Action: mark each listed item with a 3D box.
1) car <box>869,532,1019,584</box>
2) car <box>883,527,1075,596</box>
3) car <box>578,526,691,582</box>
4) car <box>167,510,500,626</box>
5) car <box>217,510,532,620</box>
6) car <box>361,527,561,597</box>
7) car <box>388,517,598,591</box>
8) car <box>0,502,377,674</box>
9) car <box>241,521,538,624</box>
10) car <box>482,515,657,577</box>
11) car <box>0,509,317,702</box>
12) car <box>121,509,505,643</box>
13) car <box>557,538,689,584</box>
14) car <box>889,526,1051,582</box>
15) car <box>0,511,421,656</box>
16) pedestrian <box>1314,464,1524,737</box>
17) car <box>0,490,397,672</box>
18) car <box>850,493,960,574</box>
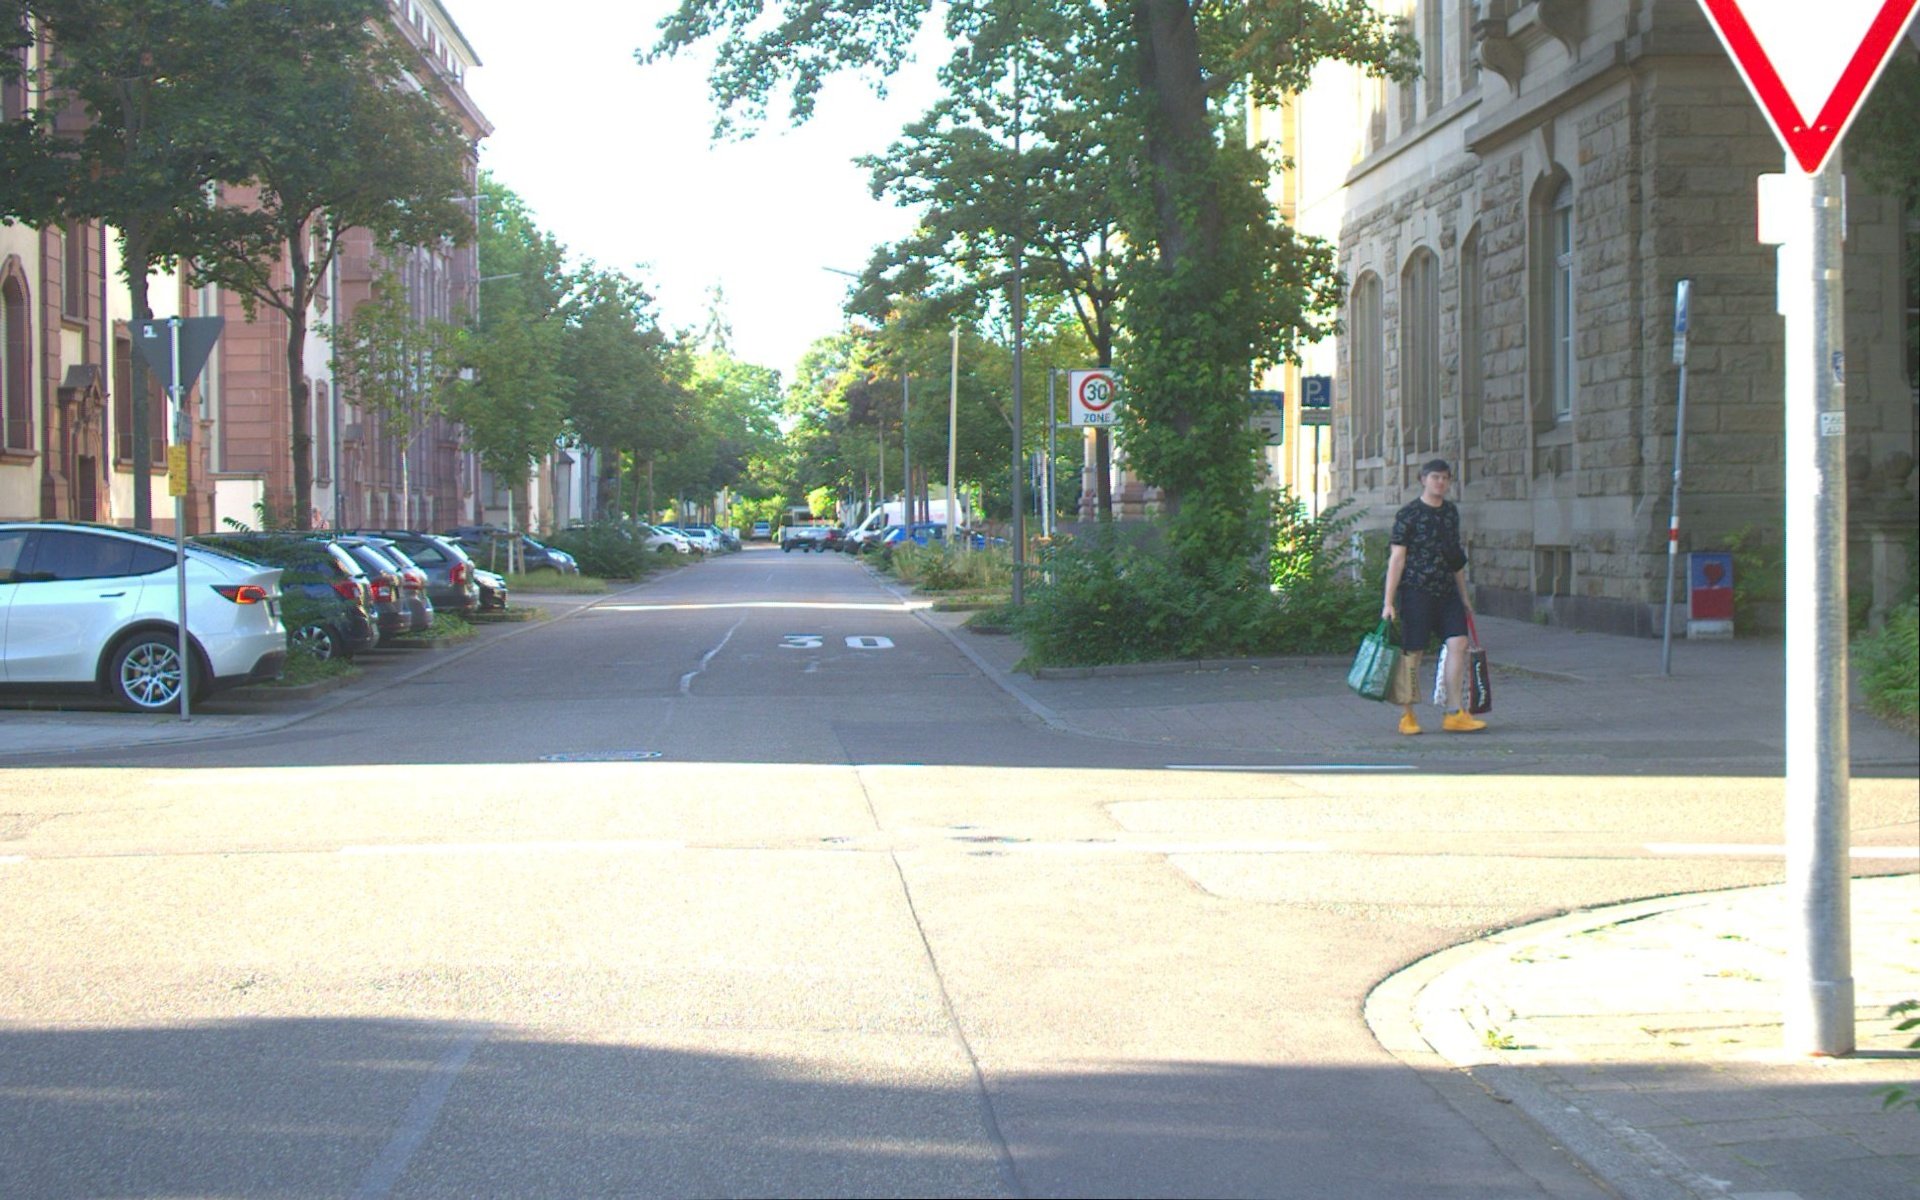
[{"bbox_3d":[-0.520,-1.333,108.067,4.582,1.602,1.842,0,1,-4],"label":"car"},{"bbox_3d":[0.435,-0.930,82.364,4.482,1.602,1.842,0,1,-4],"label":"car"},{"bbox_3d":[-13.377,-1.904,141.595,4.582,2.256,1.842,0,1,-4],"label":"car"},{"bbox_3d":[-8.858,-0.473,48.921,4.482,1.602,1.842,0,1,-4],"label":"car"},{"bbox_3d":[-8.711,-0.540,51.415,4.482,1.602,1.842,0,1,-4],"label":"car"},{"bbox_3d":[-11.616,-0.893,80.272,4.482,1.602,1.842,0,1,-4],"label":"car"},{"bbox_3d":[-10.296,-1.036,75.995,4.482,1.602,1.842,0,1,-4],"label":"car"},{"bbox_3d":[-8.410,-0.140,35.681,4.482,1.711,1.842,0,1,-4],"label":"car"},{"bbox_3d":[-9.001,-0.450,54.520,4.482,1.602,1.842,0,1,-4],"label":"car"},{"bbox_3d":[-10.225,-1.426,90.267,4.482,1.602,1.842,0,1,-4],"label":"car"},{"bbox_3d":[-8.047,0.032,29.328,4.841,1.588,1.842,0,1,-4],"label":"car"},{"bbox_3d":[-7.956,-0.312,42.578,4.482,1.602,1.842,0,1,-4],"label":"car"},{"bbox_3d":[-11.913,-1.375,121.649,4.582,1.602,1.842,0,1,-4],"label":"car"},{"bbox_3d":[0.285,-1.340,100.055,4.582,1.602,1.842,0,1,-4],"label":"car"},{"bbox_3d":[-8.511,-0.208,39.318,4.482,1.602,1.842,0,1,-4],"label":"car"},{"bbox_3d":[3.204,-0.009,24.035,1.060,1.851,1.002,-1,1,-34],"label":"pedestrian"},{"bbox_3d":[-7.893,-0.203,33.816,4.482,1.711,1.842,0,1,-4],"label":"car"},{"bbox_3d":[-2.503,-3.000,155.455,4.885,3.605,1.842,0,1,-3],"label":"car"}]
